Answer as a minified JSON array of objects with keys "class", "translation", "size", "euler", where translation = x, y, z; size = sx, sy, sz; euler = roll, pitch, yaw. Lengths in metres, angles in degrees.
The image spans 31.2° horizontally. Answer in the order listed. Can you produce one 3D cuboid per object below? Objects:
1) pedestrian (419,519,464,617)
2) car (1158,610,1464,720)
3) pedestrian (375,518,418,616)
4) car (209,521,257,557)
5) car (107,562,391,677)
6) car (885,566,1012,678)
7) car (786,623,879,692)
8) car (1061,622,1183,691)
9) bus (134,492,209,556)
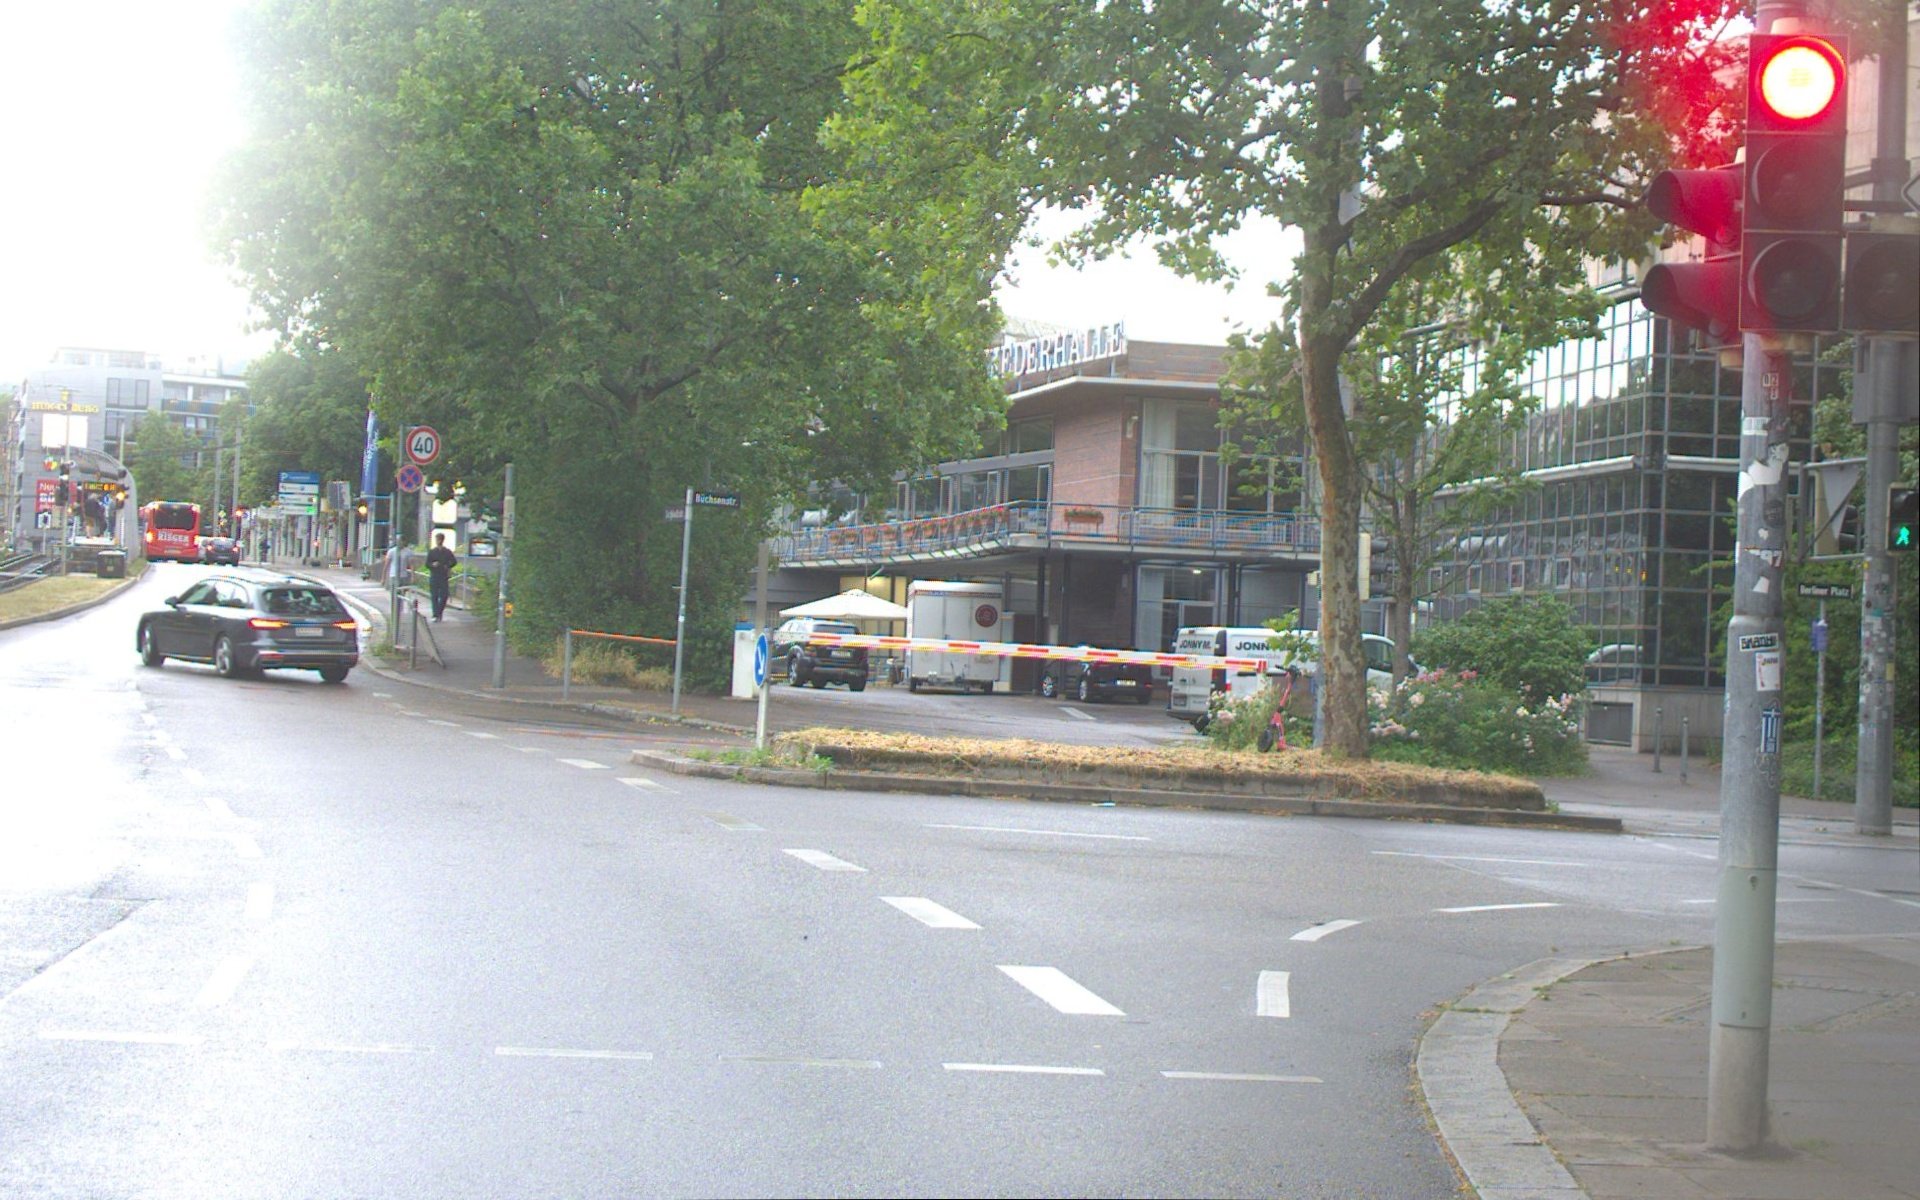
[{"class":"pedestrian","translation":[-10.783,-0.672,71.547],"size":[0.874,2.007,1.077],"euler":[1,0,-8]},{"class":"car","translation":[6.364,1.180,62.207],"size":[5.198,1.725,1.875],"euler":[3,1,-25]},{"class":"pedestrian","translation":[-11.692,-0.682,71.364],"size":[0.814,2.007,1.077],"euler":[1,0,-8]},{"class":"car","translation":[-38.395,-3.198,181.402],"size":[2.362,1.810,5.185],"euler":[1,1,-13]},{"class":"car","translation":[-10.111,0.251,48.727],"size":[1.994,1.514,4.348],"euler":[0,1,-42]},{"class":"car","translation":[-0.359,0.539,91.470],"size":[2.731,2.686,6.923],"euler":[3,1,-5]},{"class":"car","translation":[-3.236,1.460,87.951],"size":[2.019,1.546,4.350],"euler":[3,1,2]},{"class":"car","translation":[4.170,1.439,89.213],"size":[2.019,1.546,4.351],"euler":[3,1,-13]},{"class":"bus","translation":[-40.486,-3.852,176.420],"size":[3.589,3.160,10.423],"euler":[1,1,-13]}]
